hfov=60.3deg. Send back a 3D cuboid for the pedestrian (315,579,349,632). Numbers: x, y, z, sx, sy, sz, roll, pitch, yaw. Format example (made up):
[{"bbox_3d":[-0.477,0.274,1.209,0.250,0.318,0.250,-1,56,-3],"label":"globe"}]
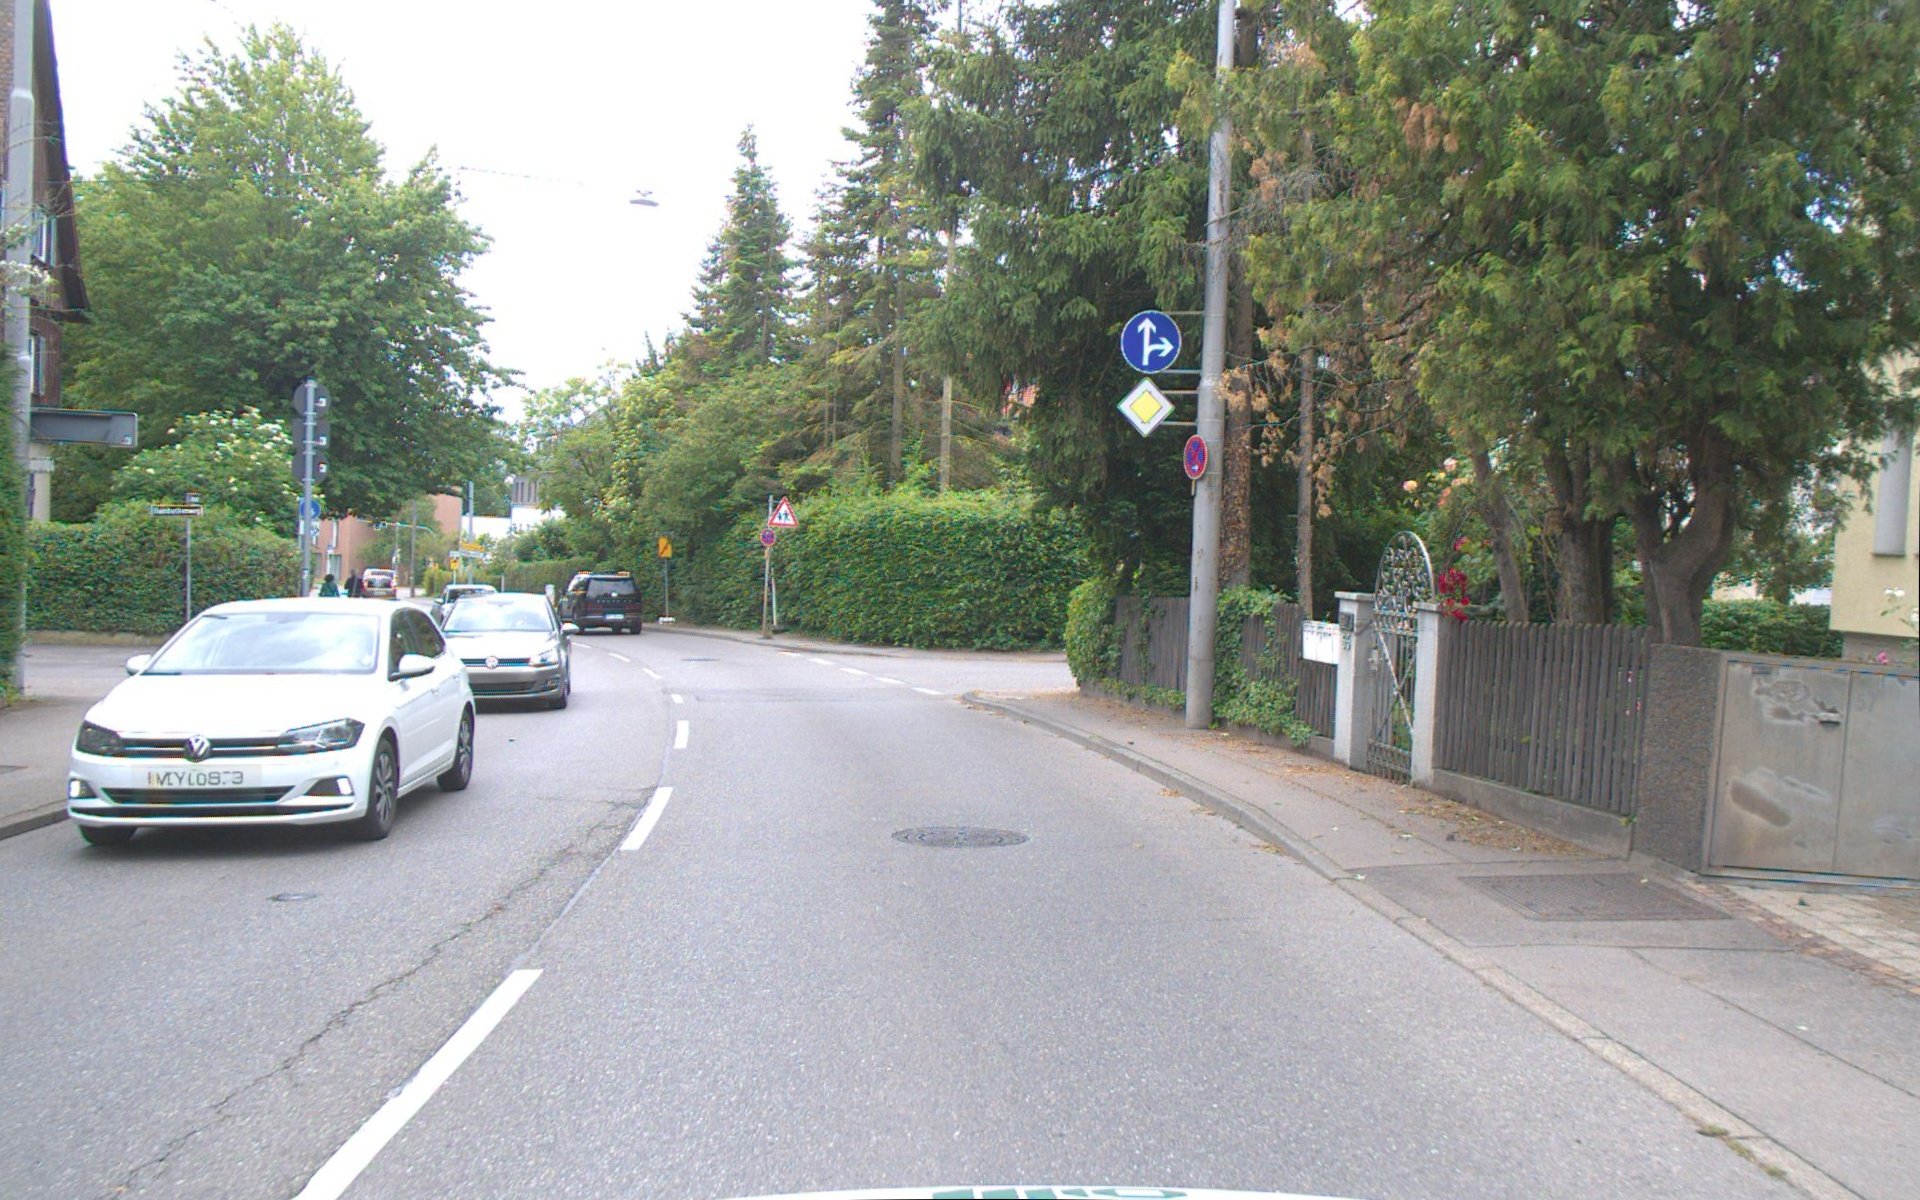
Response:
[{"bbox_3d":[-17.812,0.148,46.926,0.665,1.474,0.746,-2,2,-41],"label":"pedestrian"}]

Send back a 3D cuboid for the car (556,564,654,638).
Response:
[{"bbox_3d":[-10.401,-0.004,48.216,1.968,1.914,3.971,2,2,-24],"label":"car"}]

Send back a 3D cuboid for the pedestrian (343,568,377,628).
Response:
[{"bbox_3d":[-17.232,-0.060,47.483,0.624,1.691,0.906,2,-1,-39],"label":"pedestrian"}]

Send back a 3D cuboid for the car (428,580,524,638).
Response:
[{"bbox_3d":[-12.845,0.223,43.730,1.786,1.468,4.163,0,0,-26],"label":"car"}]

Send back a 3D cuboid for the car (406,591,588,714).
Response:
[{"bbox_3d":[-5.966,0.619,21.724,1.878,1.422,3.900,0,1,-10],"label":"car"}]

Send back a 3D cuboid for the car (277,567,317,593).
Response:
[{"bbox_3d":[-40.050,-1.209,99.836,1.703,1.497,3.493,0,1,-31],"label":"car"}]

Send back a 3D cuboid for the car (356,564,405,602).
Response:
[{"bbox_3d":[-28.486,-0.850,81.363,1.861,1.735,3.985,2,0,-15],"label":"car"}]

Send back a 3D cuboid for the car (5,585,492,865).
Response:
[{"bbox_3d":[-4.440,0.664,11.005,1.865,1.479,3.792,-1,1,-6],"label":"car"}]

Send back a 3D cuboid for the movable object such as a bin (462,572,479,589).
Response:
[{"bbox_3d":[-31.604,-1.261,106.806,0.667,1.092,0.715,2,-2,27],"label":"movable object such as a bin"}]

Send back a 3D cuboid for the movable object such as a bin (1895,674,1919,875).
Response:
[{"bbox_3d":[5.538,0.955,8.735,0.761,1.067,0.783,1,0,4],"label":"movable object such as a bin"}]

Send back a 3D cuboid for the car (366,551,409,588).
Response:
[{"bbox_3d":[-35.478,-1.915,102.557,1.929,2.048,4.413,5,0,-14],"label":"car"}]
